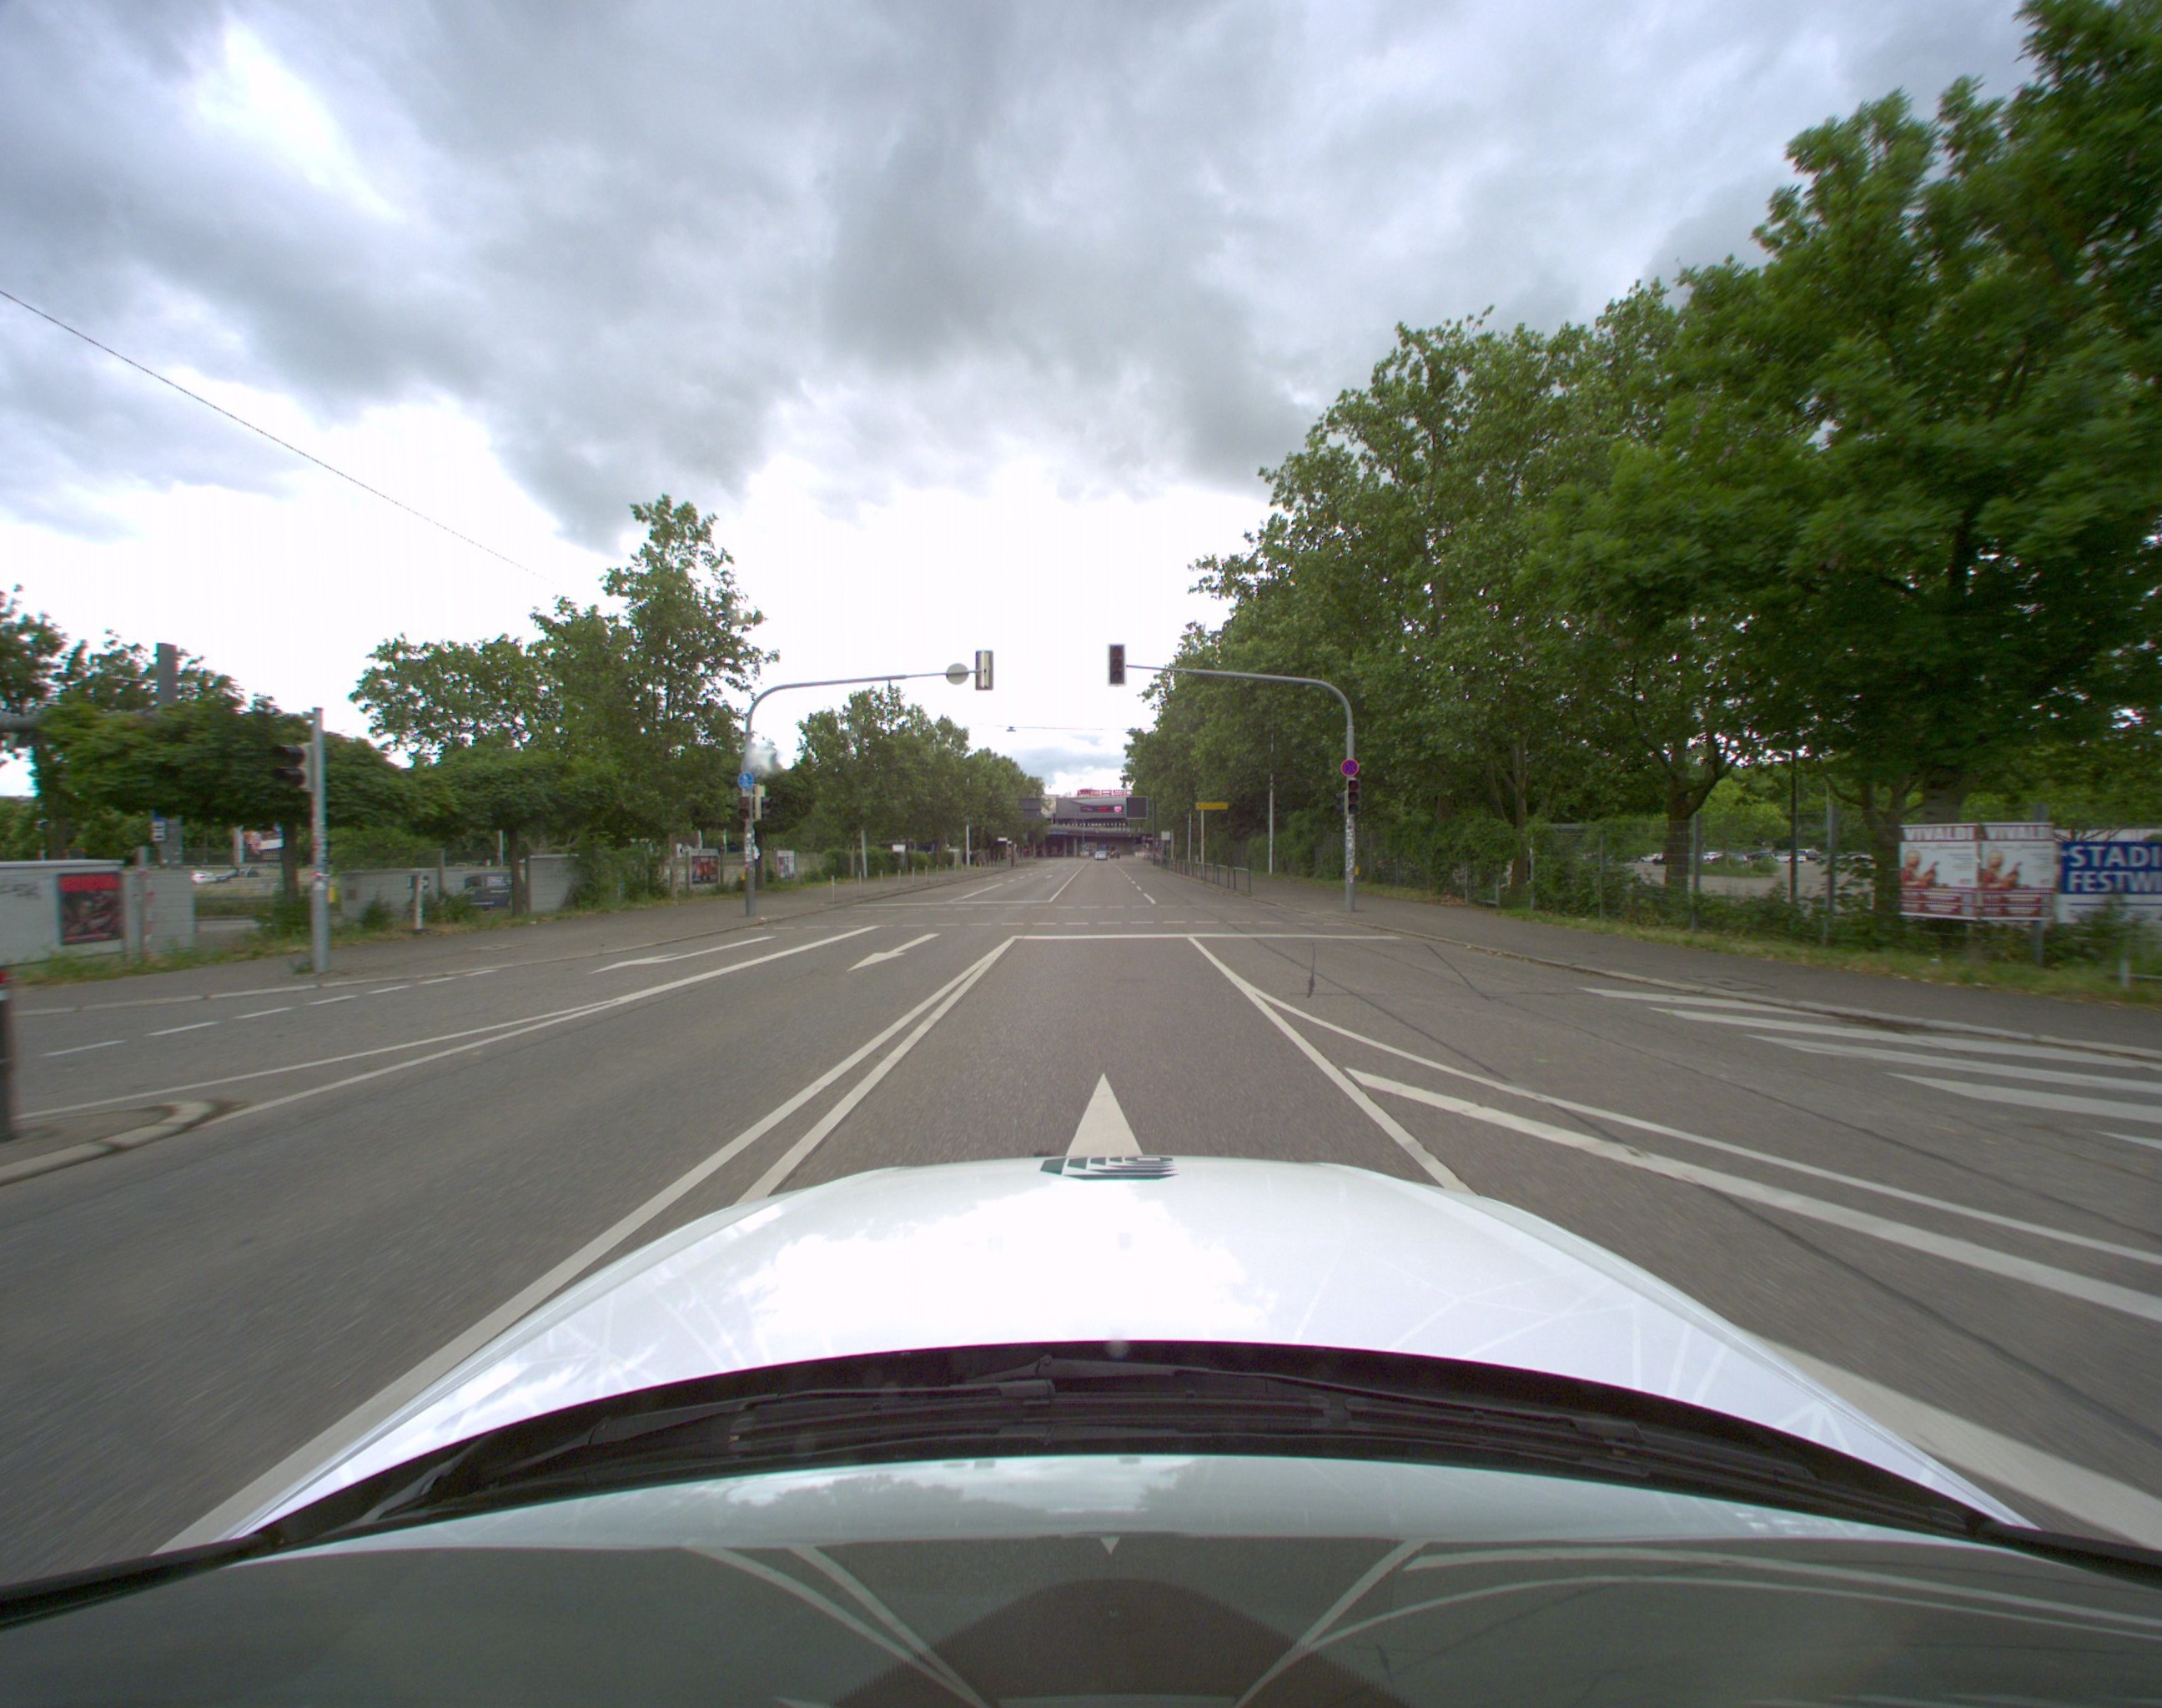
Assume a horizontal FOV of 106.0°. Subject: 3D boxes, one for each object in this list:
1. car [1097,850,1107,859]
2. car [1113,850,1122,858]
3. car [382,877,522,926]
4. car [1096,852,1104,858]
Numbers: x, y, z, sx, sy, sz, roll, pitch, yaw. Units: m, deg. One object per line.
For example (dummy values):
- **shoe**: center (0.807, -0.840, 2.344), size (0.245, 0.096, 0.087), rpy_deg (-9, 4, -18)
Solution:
- **car**: center (3.601, 0.083, 139.255), size (1.771, 1.460, 3.824), rpy_deg (1, 0, 2)
- **car**: center (7.971, -0.006, 177.097), size (1.999, 1.698, 4.072), rpy_deg (0, 0, 2)
- **car**: center (-27.264, 2.001, 35.513), size (1.867, 1.835, 4.611), rpy_deg (1, 0, 15)
- **car**: center (3.466, 0.150, 148.844), size (1.406, 1.113, 3.039), rpy_deg (0, 0, 2)
